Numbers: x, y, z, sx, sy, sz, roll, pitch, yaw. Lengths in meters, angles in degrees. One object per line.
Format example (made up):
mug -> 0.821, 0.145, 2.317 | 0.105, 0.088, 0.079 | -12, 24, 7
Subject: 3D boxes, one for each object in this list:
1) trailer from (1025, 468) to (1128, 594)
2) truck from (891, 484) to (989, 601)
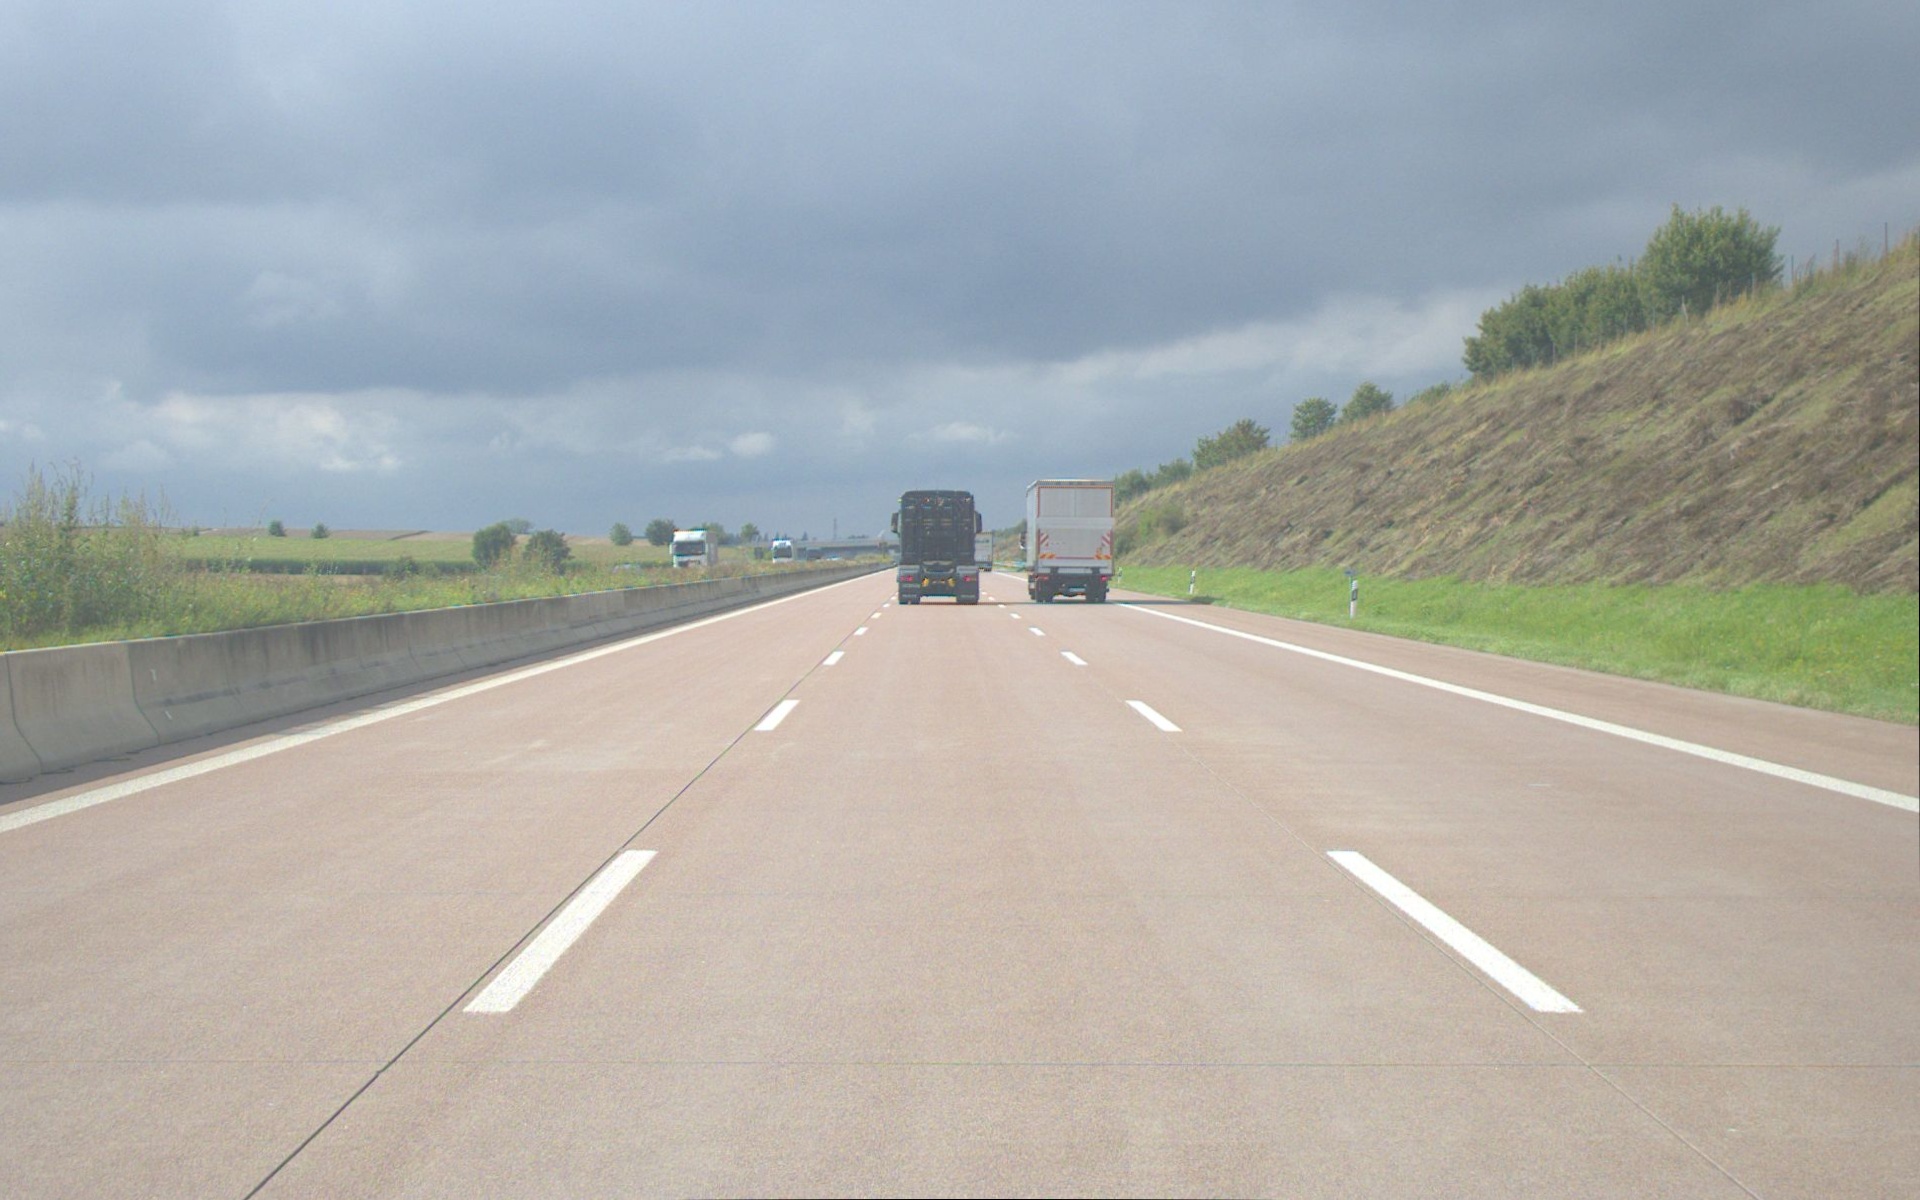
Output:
trailer -> 3.822, -2.249, 114.518 | 2.747, 3.998, 8.671 | 1, 0, -2
truck -> -0.704, -1.794, 109.105 | 2.847, 3.537, 8.320 | 1, 0, -2
